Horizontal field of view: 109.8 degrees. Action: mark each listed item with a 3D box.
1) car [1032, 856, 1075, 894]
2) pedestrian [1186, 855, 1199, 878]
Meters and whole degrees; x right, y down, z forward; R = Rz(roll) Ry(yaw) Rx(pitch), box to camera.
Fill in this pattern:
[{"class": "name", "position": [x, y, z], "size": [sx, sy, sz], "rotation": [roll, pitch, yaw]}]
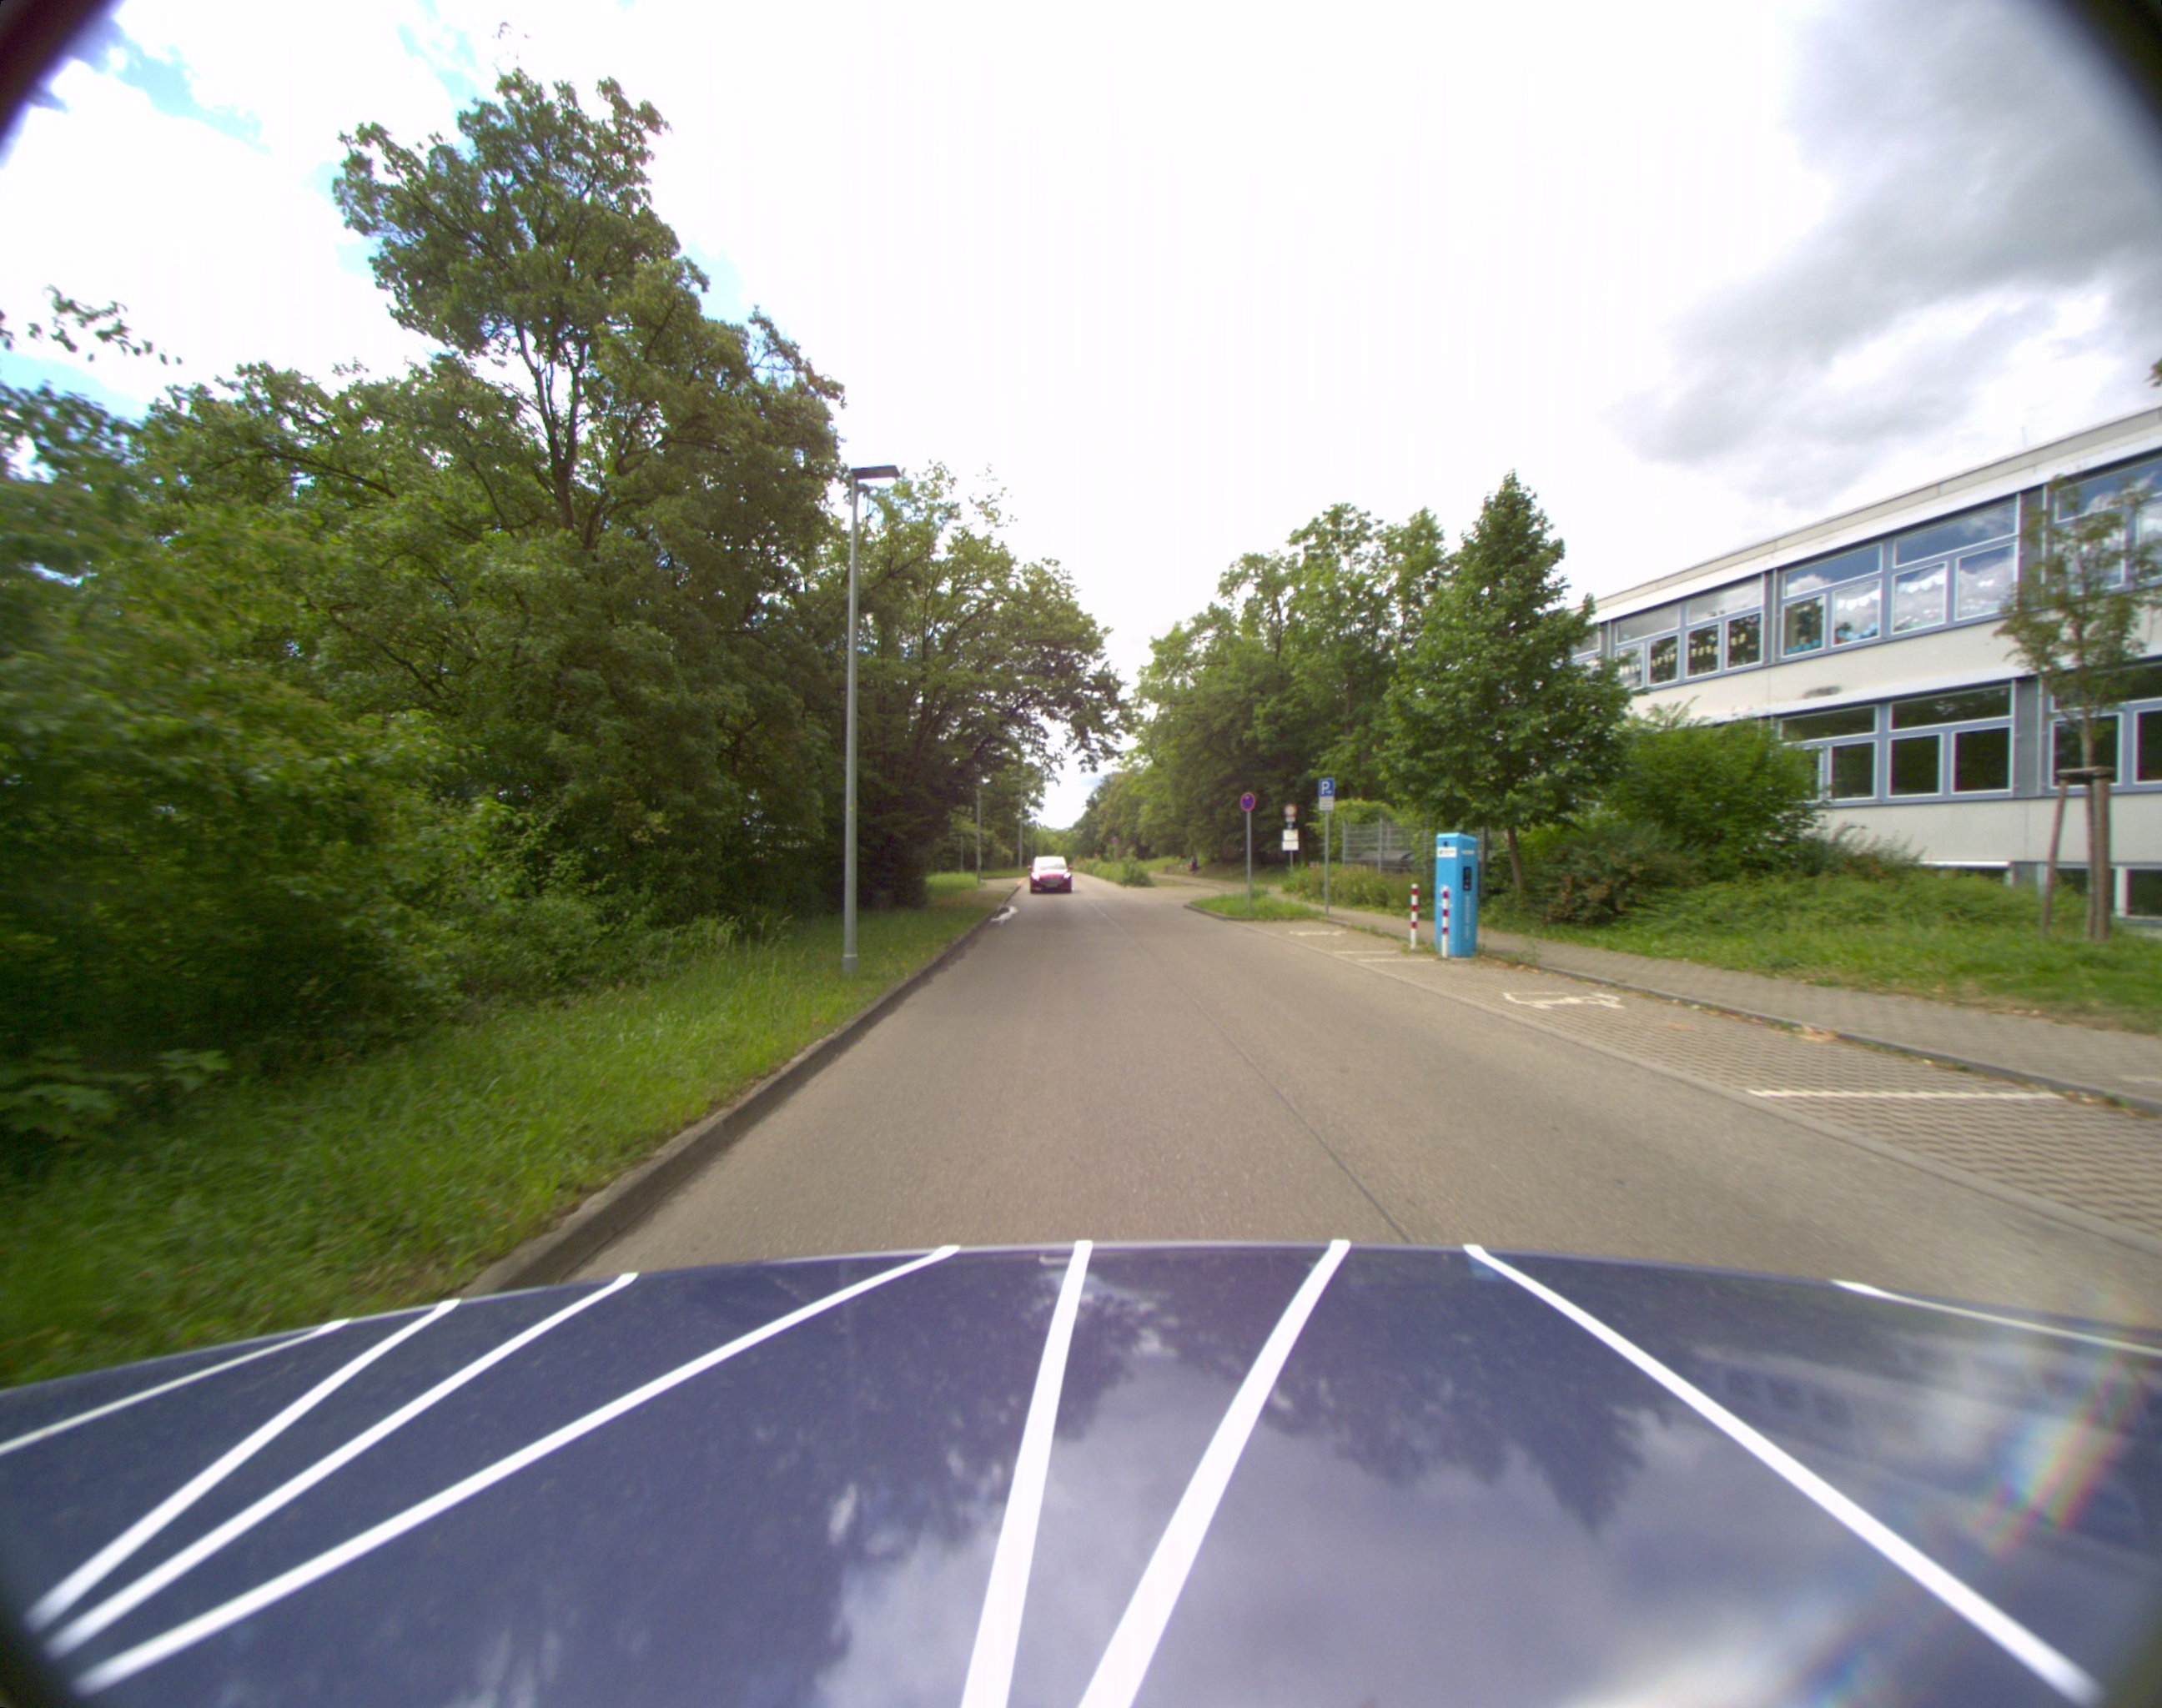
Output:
[{"class": "car", "position": [-1.298, 0.924, 35.535], "size": [1.862, 1.608, 4.475], "rotation": [-2, 0, -2]}, {"class": "pedestrian", "position": [8.227, 0.914, 56.173], "size": [0.762, 1.653, 0.808], "rotation": [0, 0, -5]}]
